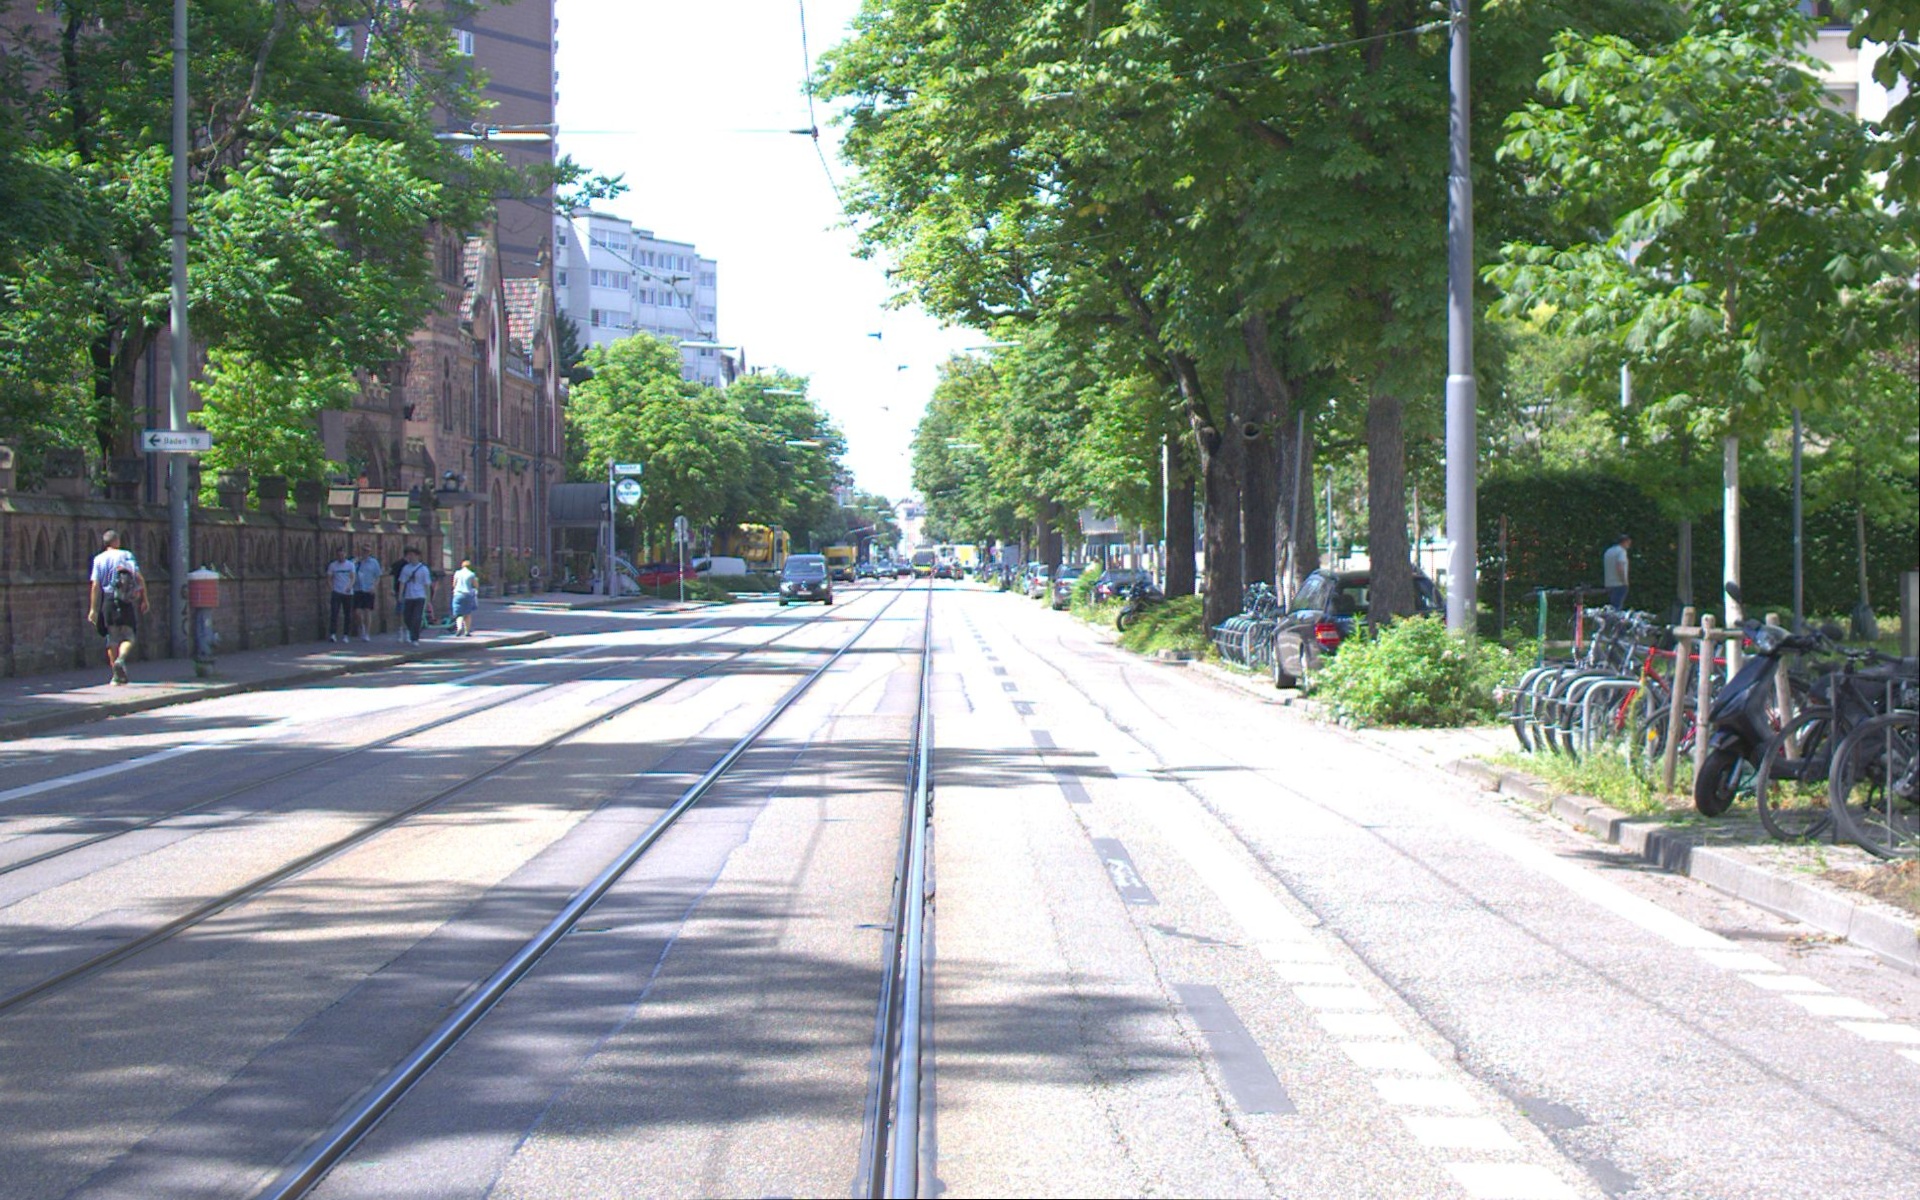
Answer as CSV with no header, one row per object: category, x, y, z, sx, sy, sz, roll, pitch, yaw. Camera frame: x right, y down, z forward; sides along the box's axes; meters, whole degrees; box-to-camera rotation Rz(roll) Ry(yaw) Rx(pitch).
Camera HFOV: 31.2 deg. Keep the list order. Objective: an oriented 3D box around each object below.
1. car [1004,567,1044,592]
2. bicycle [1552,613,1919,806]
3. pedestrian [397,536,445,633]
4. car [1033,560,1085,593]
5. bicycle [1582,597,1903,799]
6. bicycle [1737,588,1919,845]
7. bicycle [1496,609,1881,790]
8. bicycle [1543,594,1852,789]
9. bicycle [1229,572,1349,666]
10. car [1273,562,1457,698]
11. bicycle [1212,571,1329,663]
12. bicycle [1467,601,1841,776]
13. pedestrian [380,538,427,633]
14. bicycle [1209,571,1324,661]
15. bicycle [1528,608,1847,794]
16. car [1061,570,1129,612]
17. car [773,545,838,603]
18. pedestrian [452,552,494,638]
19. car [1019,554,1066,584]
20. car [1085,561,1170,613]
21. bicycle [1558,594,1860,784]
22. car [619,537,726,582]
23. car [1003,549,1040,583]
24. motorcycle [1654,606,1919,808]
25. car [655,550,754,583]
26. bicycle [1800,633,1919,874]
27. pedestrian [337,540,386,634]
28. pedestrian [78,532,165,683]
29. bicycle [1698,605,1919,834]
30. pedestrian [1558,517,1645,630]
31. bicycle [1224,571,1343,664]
car,3.437,-1.117,185.240,1.993,1.305,4.000,0,1,0
bicycle,5.116,0.697,22.138,2.511,1.205,0.648,0,1,4
pedestrian,-9.666,-0.282,61.663,0.743,1.722,0.867,0,1,-1
car,4.070,-0.979,141.532,1.993,1.305,4.000,0,1,0
bicycle,4.582,0.569,20.185,1.752,1.162,0.530,0,1,-3
bicycle,4.859,0.578,17.326,1.752,1.266,0.530,0,1,-3
bicycle,4.961,0.676,23.511,2.511,1.205,0.622,0,1,4
bicycle,4.475,0.552,20.901,1.752,1.162,0.530,0,1,-3
bicycle,4.405,0.254,46.026,1.564,1.237,0.437,0,1,1
car,4.677,0.312,40.126,1.634,1.496,4.000,0,1,0
bicycle,4.250,0.227,47.113,1.564,1.237,0.437,0,1,1
bicycle,4.877,0.618,24.271,2.511,1.205,0.741,0,1,4
pedestrian,-10.206,-0.264,63.067,0.743,1.722,0.867,0,1,-1
bicycle,4.243,0.218,47.642,1.564,1.237,0.437,0,1,1
bicycle,4.814,0.663,22.837,1.997,1.205,0.662,0,1,4
car,4.346,-0.304,110.995,1.993,1.305,4.000,0,1,0
car,-5.447,-0.941,121.644,1.993,2.007,4.000,0,1,2
pedestrian,-9.843,-0.112,69.505,0.743,1.722,0.867,0,1,-1
car,3.704,-1.400,154.437,1.993,1.305,4.000,0,1,0
car,4.337,-0.365,89.494,1.993,1.305,4.000,0,1,0
bicycle,4.651,0.549,21.403,1.752,1.162,0.530,0,1,-3
car,-12.240,-1.717,146.344,3.987,1.798,2.000,1,1,-32
car,3.474,-1.956,194.982,1.993,1.897,4.000,0,1,0
motorcycle,4.901,0.597,19.448,1.824,1.106,0.598,0,1,0
car,-13.359,-1.770,179.739,4.728,1.711,2.000,-1,1,-27
bicycle,4.915,0.710,16.174,1.788,1.098,0.532,0,1,-2
pedestrian,-10.971,-0.240,63.050,0.743,1.722,0.867,0,1,-1
pedestrian,-9.879,0.082,40.533,0.814,1.764,0.924,0,1,-1
bicycle,4.772,0.613,17.842,1.752,1.162,0.530,0,1,-3
pedestrian,10.434,-0.430,55.965,1.215,1.821,0.831,0,1,-4
bicycle,4.371,0.239,46.530,1.564,1.237,0.437,0,1,1
